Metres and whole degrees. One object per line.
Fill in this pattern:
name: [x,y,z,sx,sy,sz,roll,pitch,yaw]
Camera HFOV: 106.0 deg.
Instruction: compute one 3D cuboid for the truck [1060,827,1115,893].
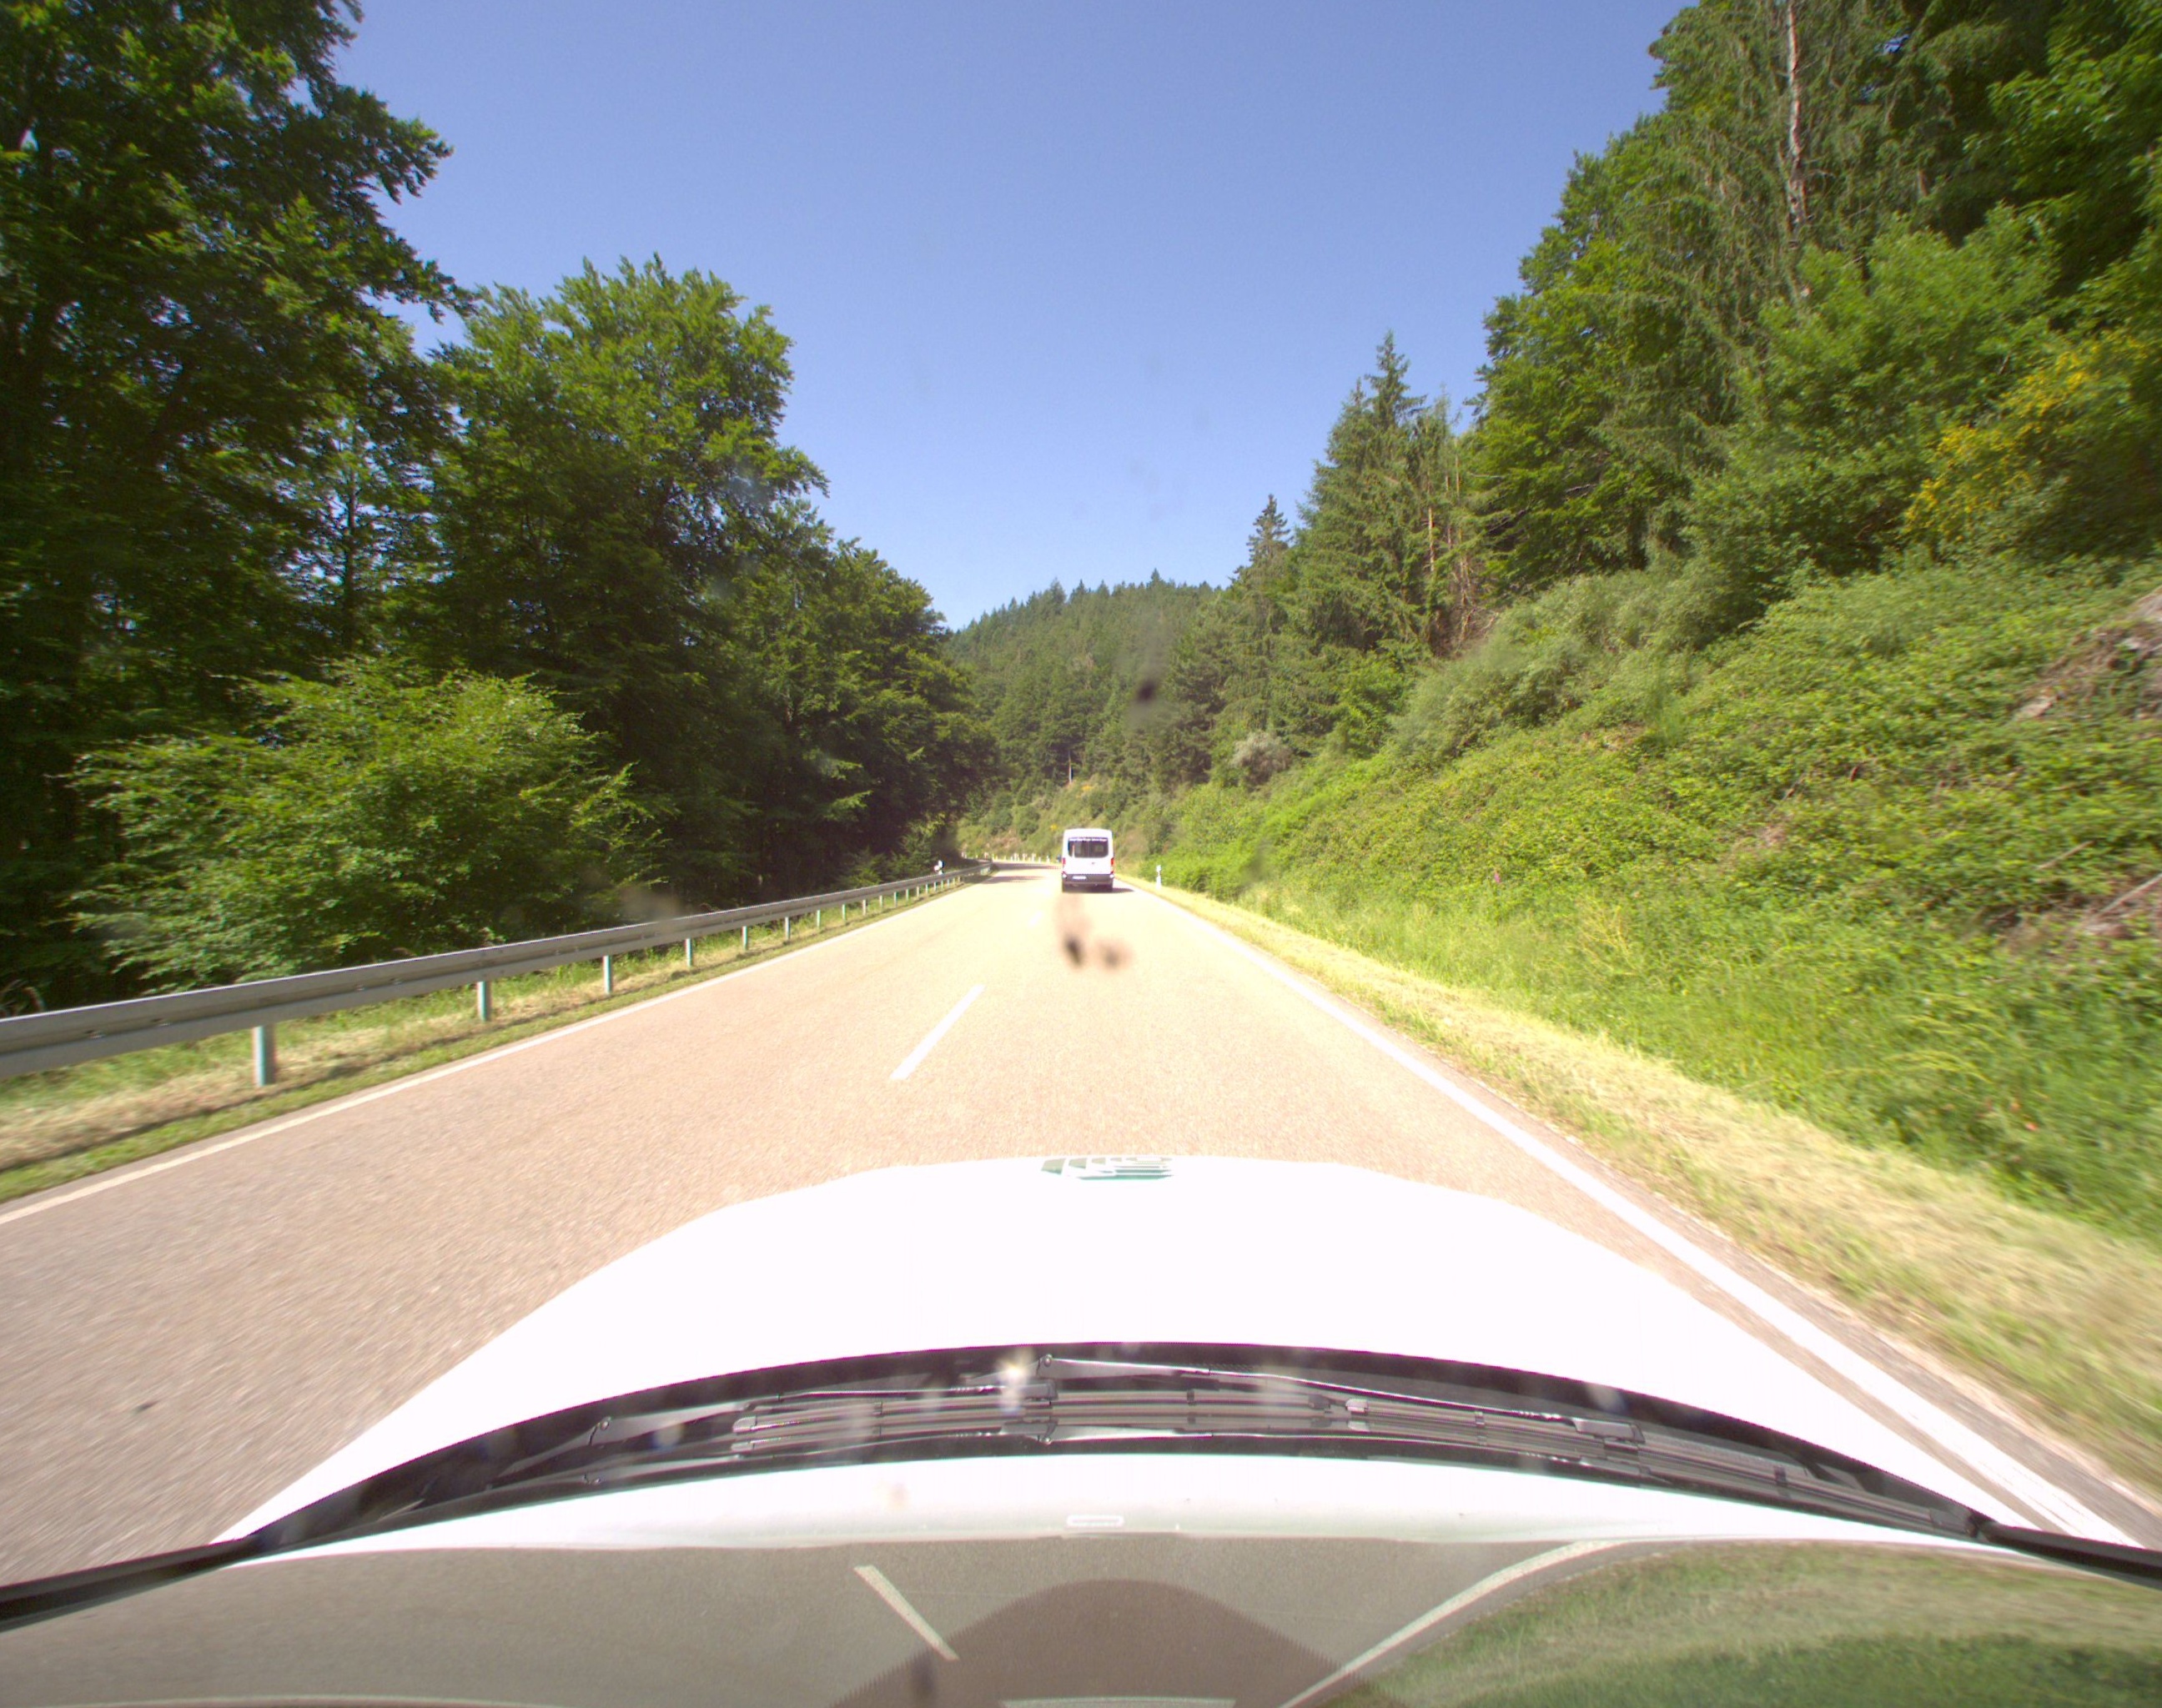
truck: [0.225,0.212,33.160,2.077,2.459,4.874,0,0,0]
